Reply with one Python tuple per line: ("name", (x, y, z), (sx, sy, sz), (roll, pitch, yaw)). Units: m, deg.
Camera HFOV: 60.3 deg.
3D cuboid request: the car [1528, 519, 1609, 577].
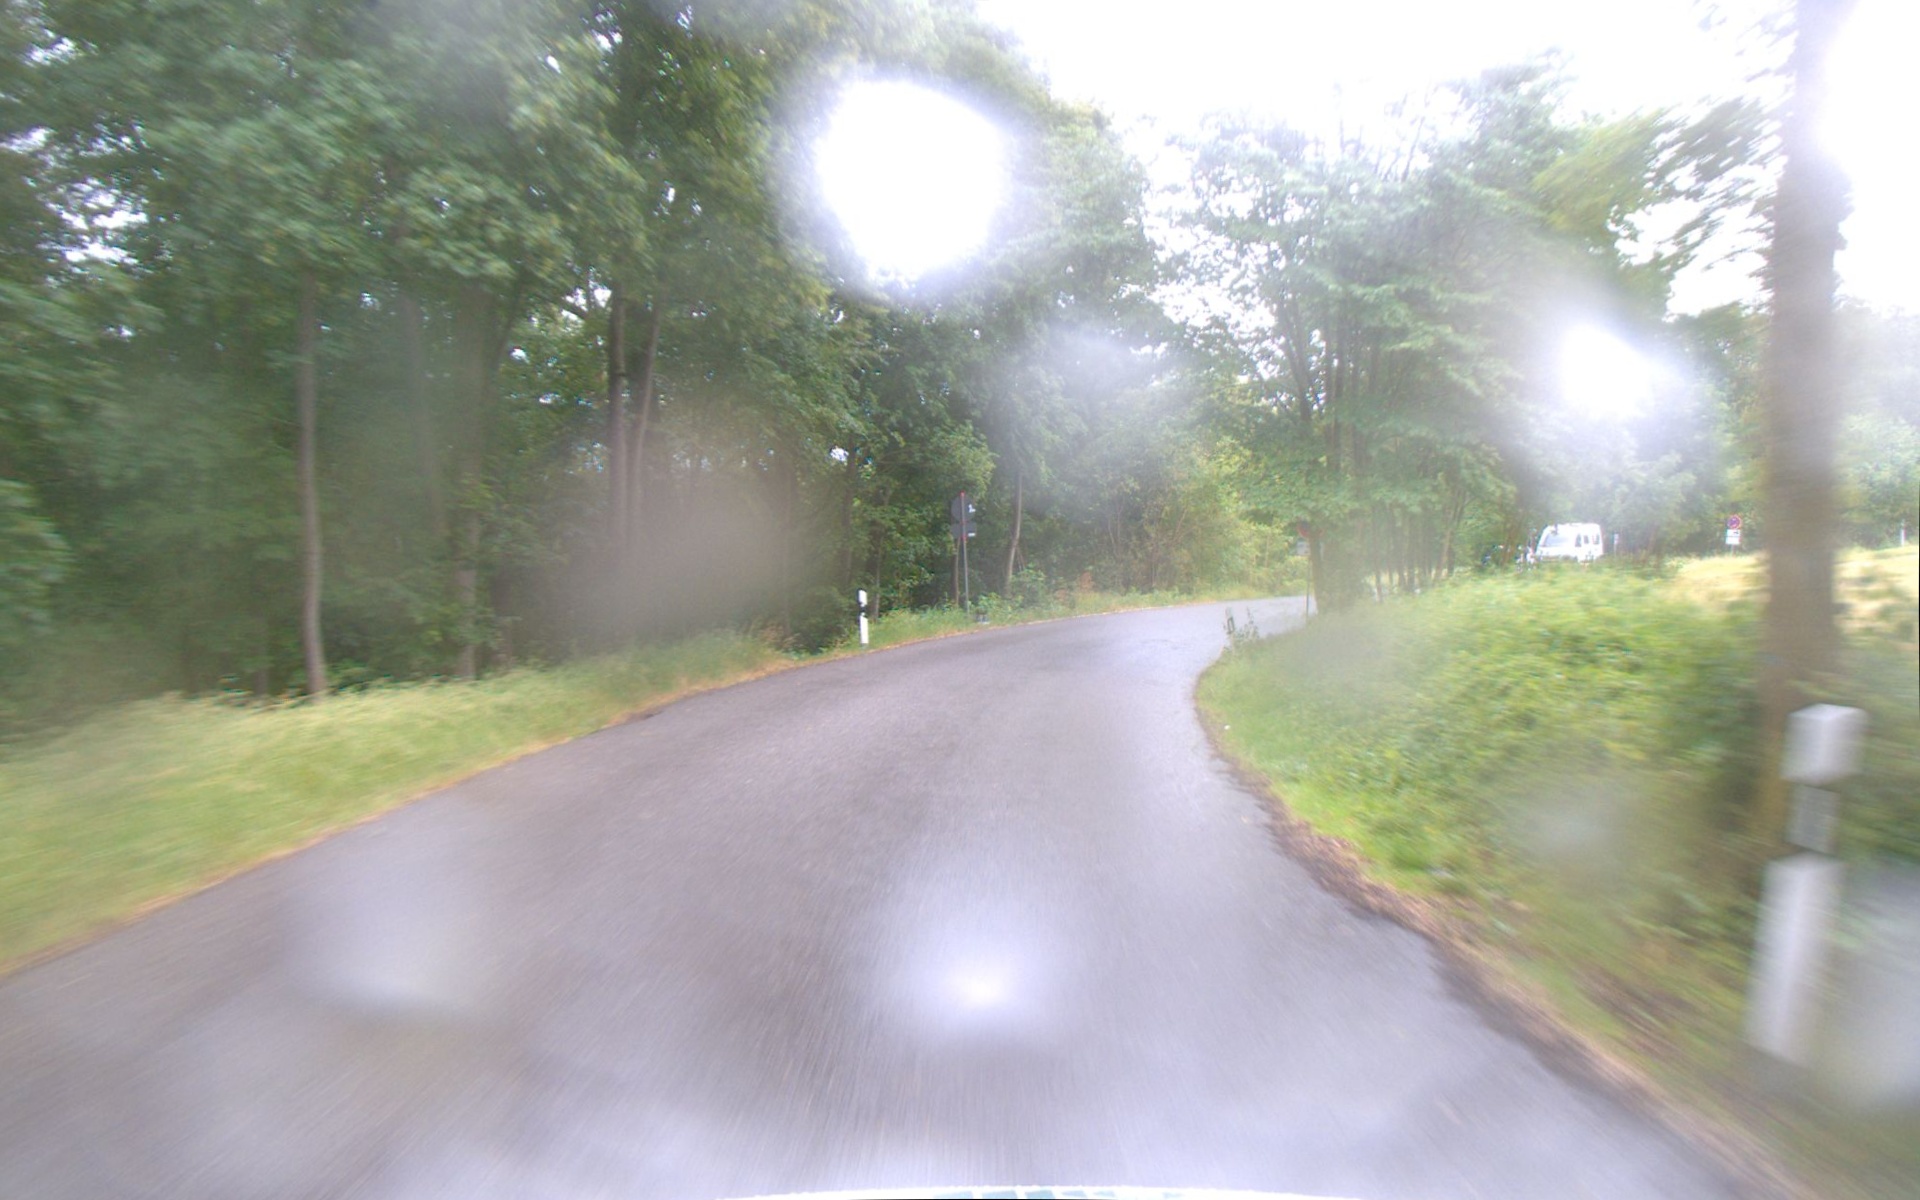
("car", (32.212, -2.777, 87.438), (2.236, 2.743, 6.024), (-3, 2, 38))
